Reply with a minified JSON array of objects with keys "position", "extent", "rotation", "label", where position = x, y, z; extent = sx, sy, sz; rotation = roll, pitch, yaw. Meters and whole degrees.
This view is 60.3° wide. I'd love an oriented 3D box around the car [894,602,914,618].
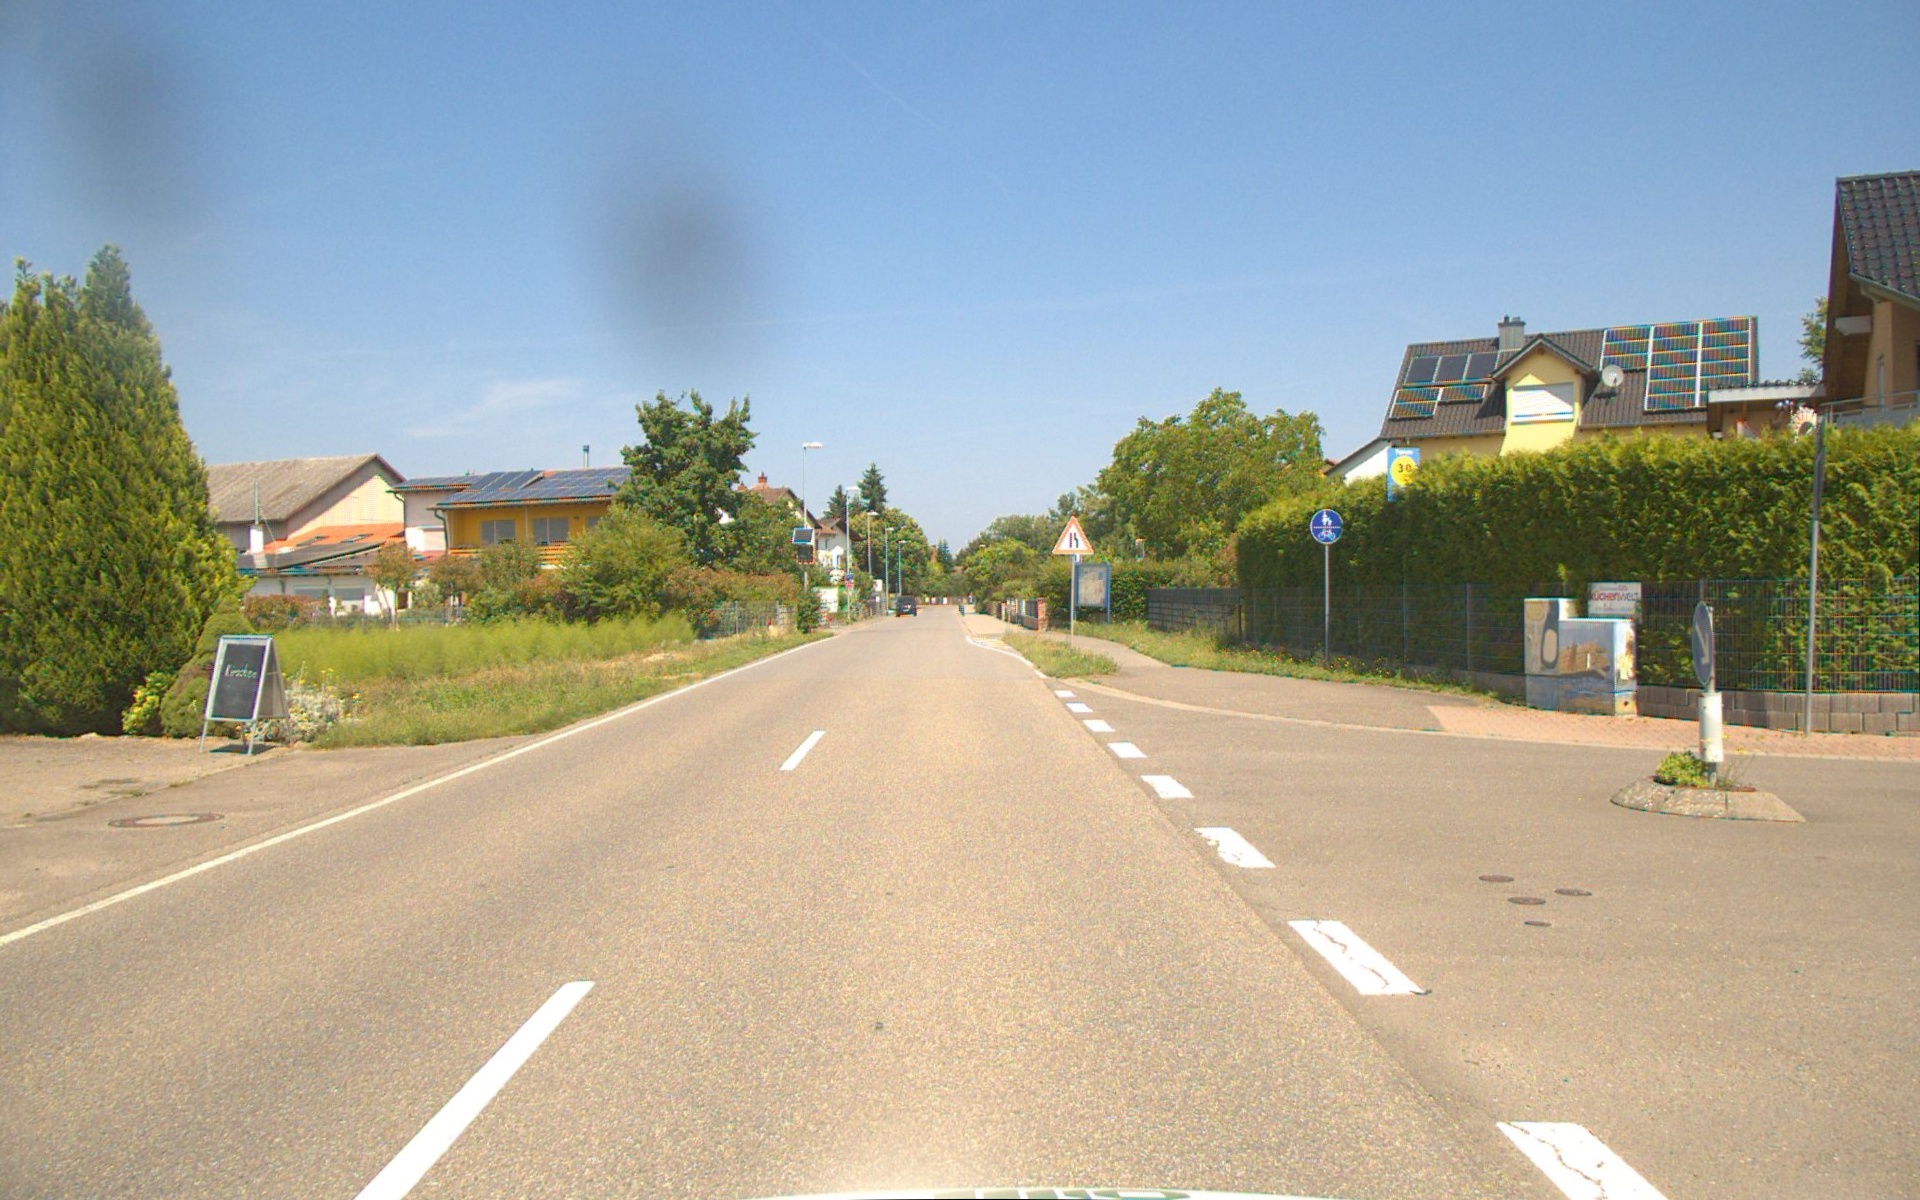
[{"position":[-4.956,0.888,147.136],"extent":[1.723,1.409,3.452],"rotation":[-2,0,-1],"label":"car"}]
